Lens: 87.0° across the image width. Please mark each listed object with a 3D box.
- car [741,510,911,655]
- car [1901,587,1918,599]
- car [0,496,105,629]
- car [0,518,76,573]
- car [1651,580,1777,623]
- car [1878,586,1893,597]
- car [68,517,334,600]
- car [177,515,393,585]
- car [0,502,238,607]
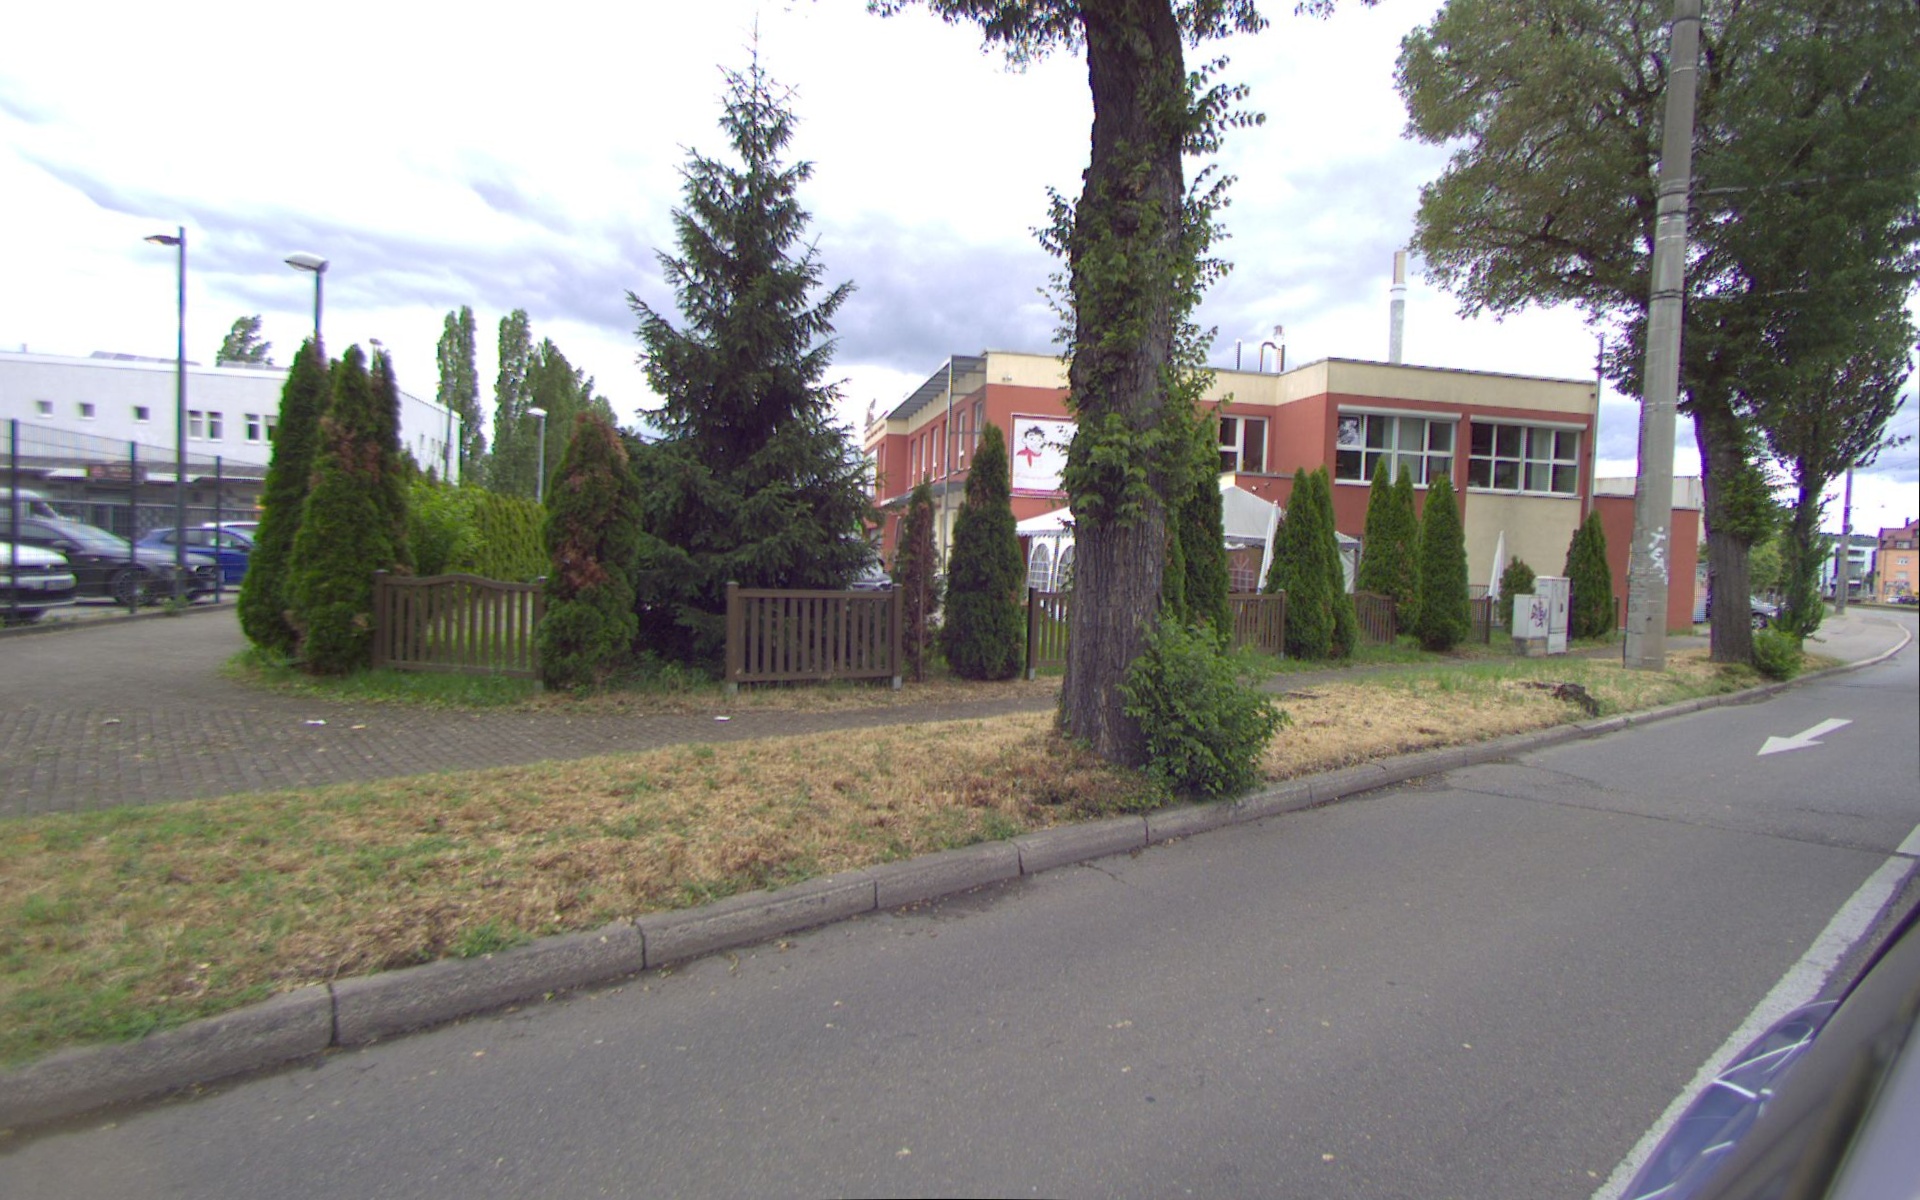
[{"bbox_3d":[-2.313,-0.268,16.478,1.958,2.039,4.008,0,0,-19],"label":"car"},{"bbox_3d":[157.655,-1.195,168.062,1.992,2.039,3.940,0,0,42],"label":"car"},{"bbox_3d":[-14.444,-0.560,13.353,4.407,1.686,2.005,1,2,-14],"label":"car"},{"bbox_3d":[-31.321,-1.724,32.348,4.181,1.670,2.004,0,0,-17],"label":"car"},{"bbox_3d":[30.786,0.036,41.380,3.986,1.666,1.867,0,0,43],"label":"car"},{"bbox_3d":[173.478,-1.534,189.787,1.992,2.039,3.940,0,0,42],"label":"car"},{"bbox_3d":[-17.031,-0.926,22.965,4.407,1.686,2.005,1,2,-14],"label":"car"},{"bbox_3d":[-17.988,-1.323,27.198,4.407,1.686,2.005,1,2,-14],"label":"car"},{"bbox_3d":[-15.568,-0.811,17.659,4.407,1.686,2.005,1,2,-14],"label":"car"}]
